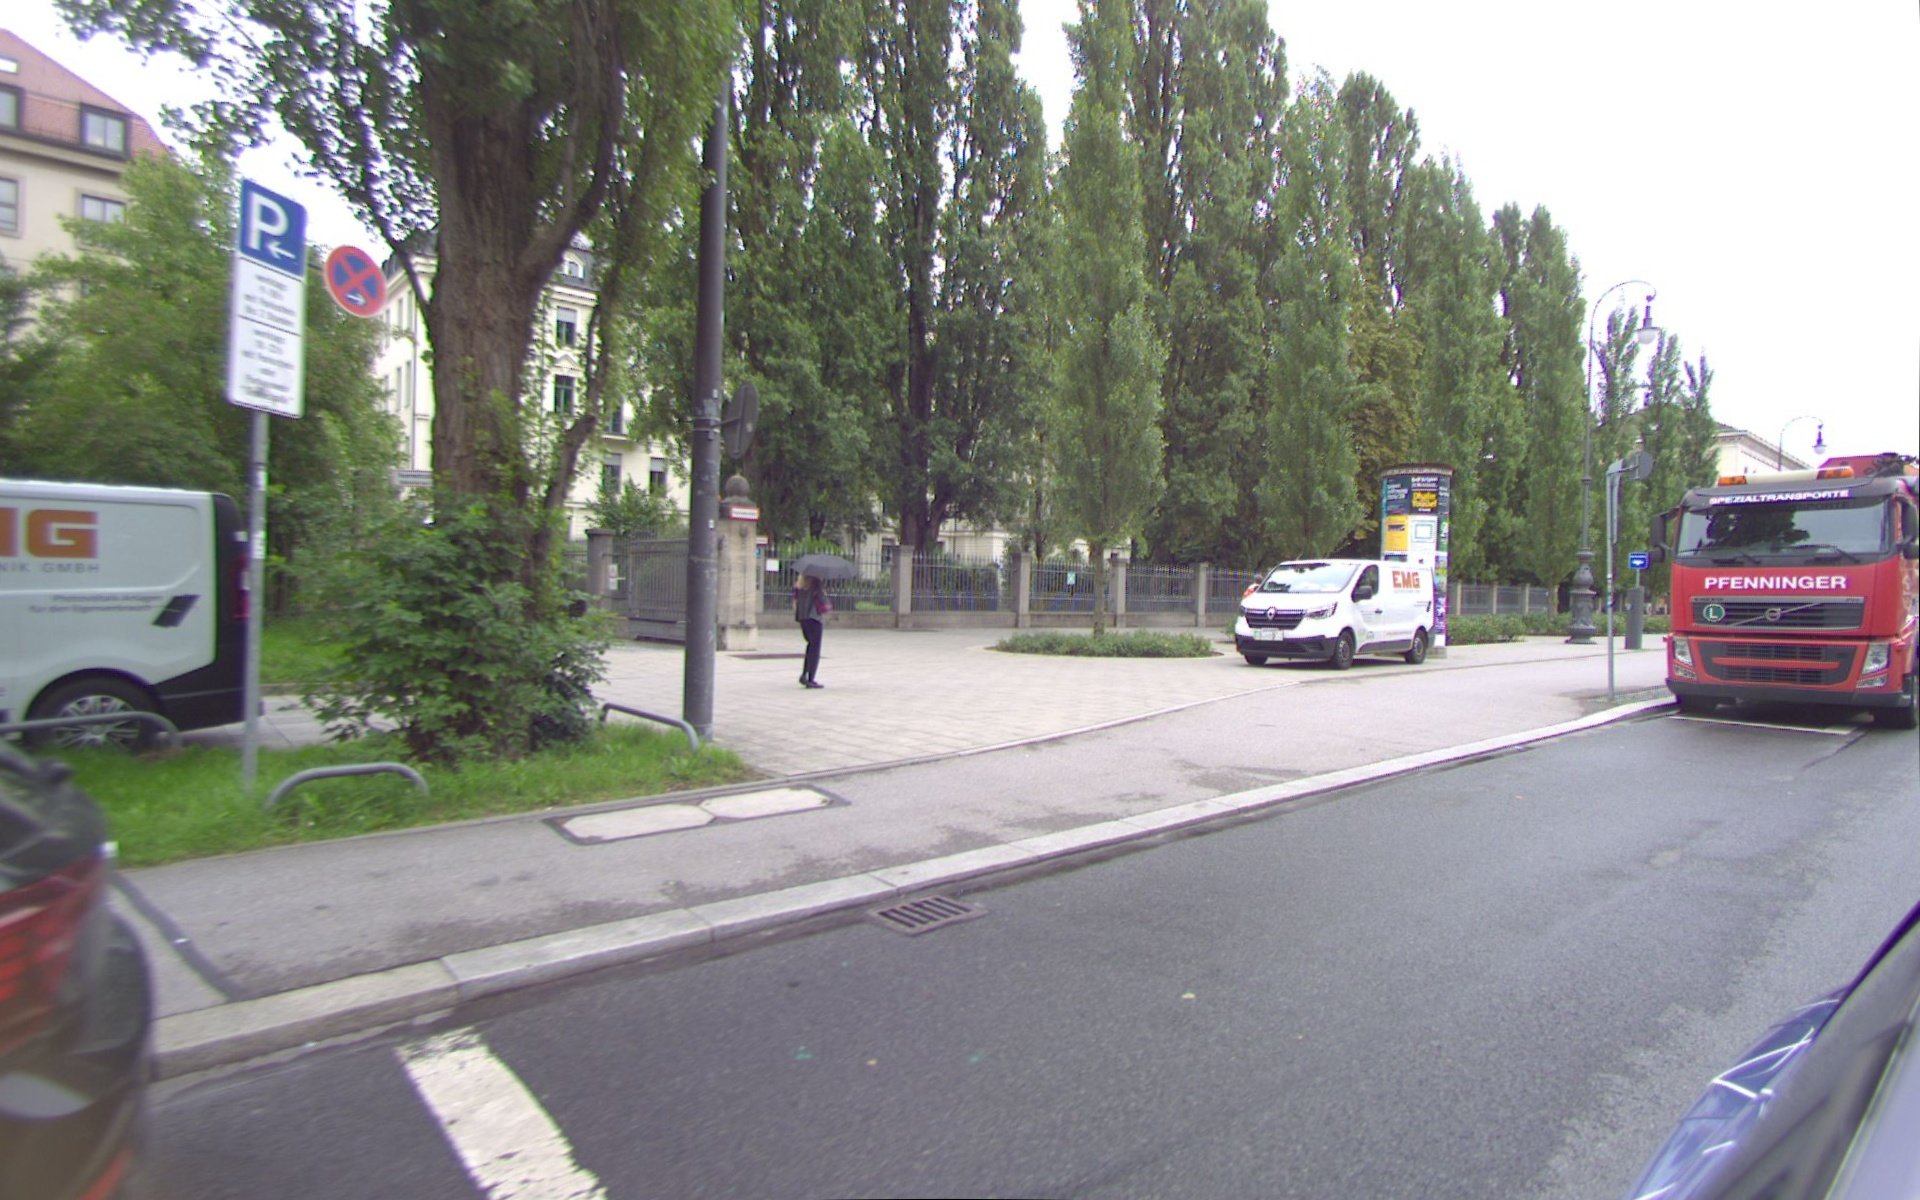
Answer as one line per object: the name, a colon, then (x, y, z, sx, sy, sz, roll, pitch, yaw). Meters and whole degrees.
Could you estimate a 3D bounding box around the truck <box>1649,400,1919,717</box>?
truck: (13.877, -0.457, 15.823, 10.102, 3.609, 2.849, 1, 0, -42)

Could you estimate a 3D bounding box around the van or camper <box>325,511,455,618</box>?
van or camper: (-16.147, -0.980, 28.528, 2.210, 2.740, 5.220, 1, 1, -41)

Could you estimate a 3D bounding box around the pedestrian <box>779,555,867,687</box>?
pedestrian: (-1.765, 0.248, 13.043, 0.825, 1.629, 0.774, 1, 0, -39)

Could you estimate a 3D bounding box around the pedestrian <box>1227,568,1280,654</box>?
pedestrian: (5.972, 0.218, 20.616, 0.742, 1.715, 0.717, 1, 0, -42)

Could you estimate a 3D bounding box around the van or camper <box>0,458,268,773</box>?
van or camper: (-7.439, 0.080, 6.304, 4.951, 1.958, 1.978, 1, 0, -42)

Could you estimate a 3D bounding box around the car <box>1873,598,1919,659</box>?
car: (24.345, 0.704, 25.279, 4.362, 1.409, 1.845, 1, 1, -42)

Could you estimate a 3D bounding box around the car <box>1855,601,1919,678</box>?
car: (19.959, 0.790, 21.096, 3.590, 1.487, 1.563, 1, 1, -42)

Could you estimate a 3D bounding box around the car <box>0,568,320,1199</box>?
car: (-3.075, 0.654, 0.970, 3.932, 1.438, 1.678, 0, 1, -43)

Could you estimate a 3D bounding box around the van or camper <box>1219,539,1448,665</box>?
van or camper: (7.051, 0.043, 18.820, 4.901, 2.039, 2.006, 1, 0, -43)
